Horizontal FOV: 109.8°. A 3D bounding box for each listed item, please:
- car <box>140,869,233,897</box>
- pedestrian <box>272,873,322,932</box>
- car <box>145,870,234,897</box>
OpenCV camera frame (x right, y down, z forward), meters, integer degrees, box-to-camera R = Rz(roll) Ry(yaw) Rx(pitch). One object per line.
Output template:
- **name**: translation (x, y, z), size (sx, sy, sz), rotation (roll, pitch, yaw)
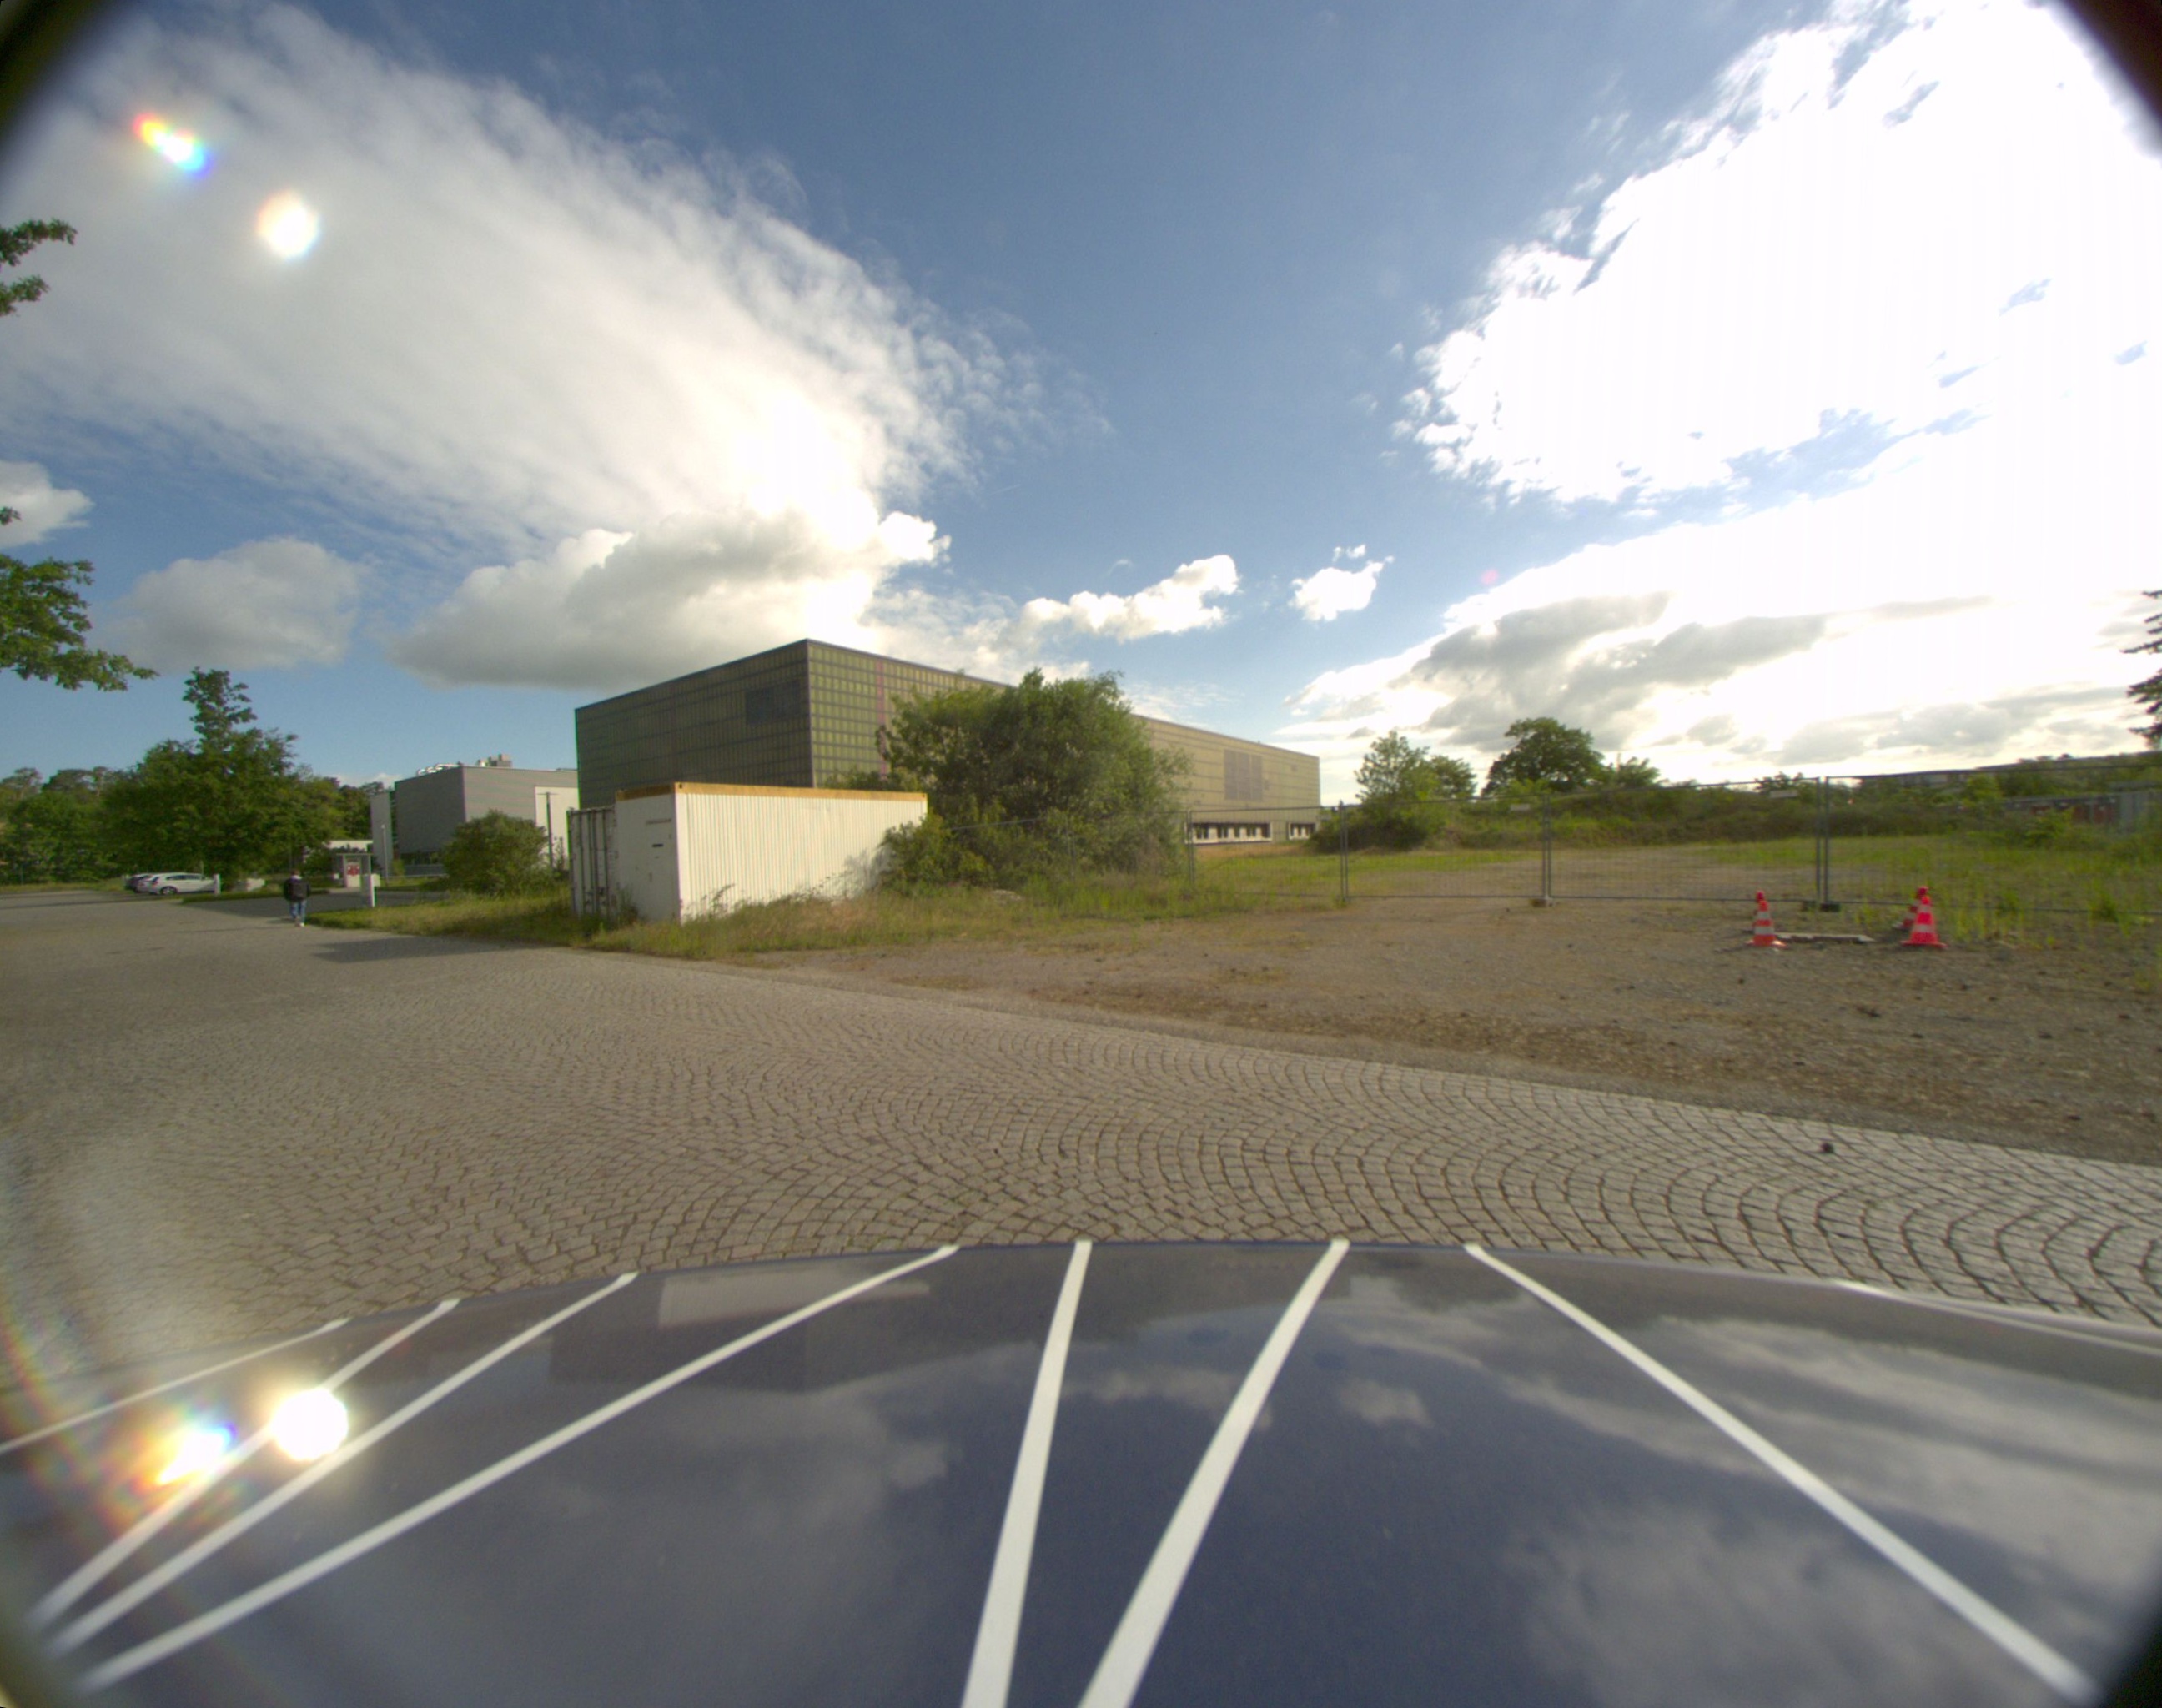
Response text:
- **car**: translation (-61.550, 1.949, 52.354), size (1.994, 1.633, 4.007), rotation (-1, 2, 41)
- **pedestrian**: translation (-21.964, 1.349, 21.308), size (0.869, 1.550, 1.025), rotation (-4, 2, -44)
- **car**: translation (-63.451, 2.051, 54.179), size (1.994, 1.633, 4.007), rotation (-1, 2, 41)
